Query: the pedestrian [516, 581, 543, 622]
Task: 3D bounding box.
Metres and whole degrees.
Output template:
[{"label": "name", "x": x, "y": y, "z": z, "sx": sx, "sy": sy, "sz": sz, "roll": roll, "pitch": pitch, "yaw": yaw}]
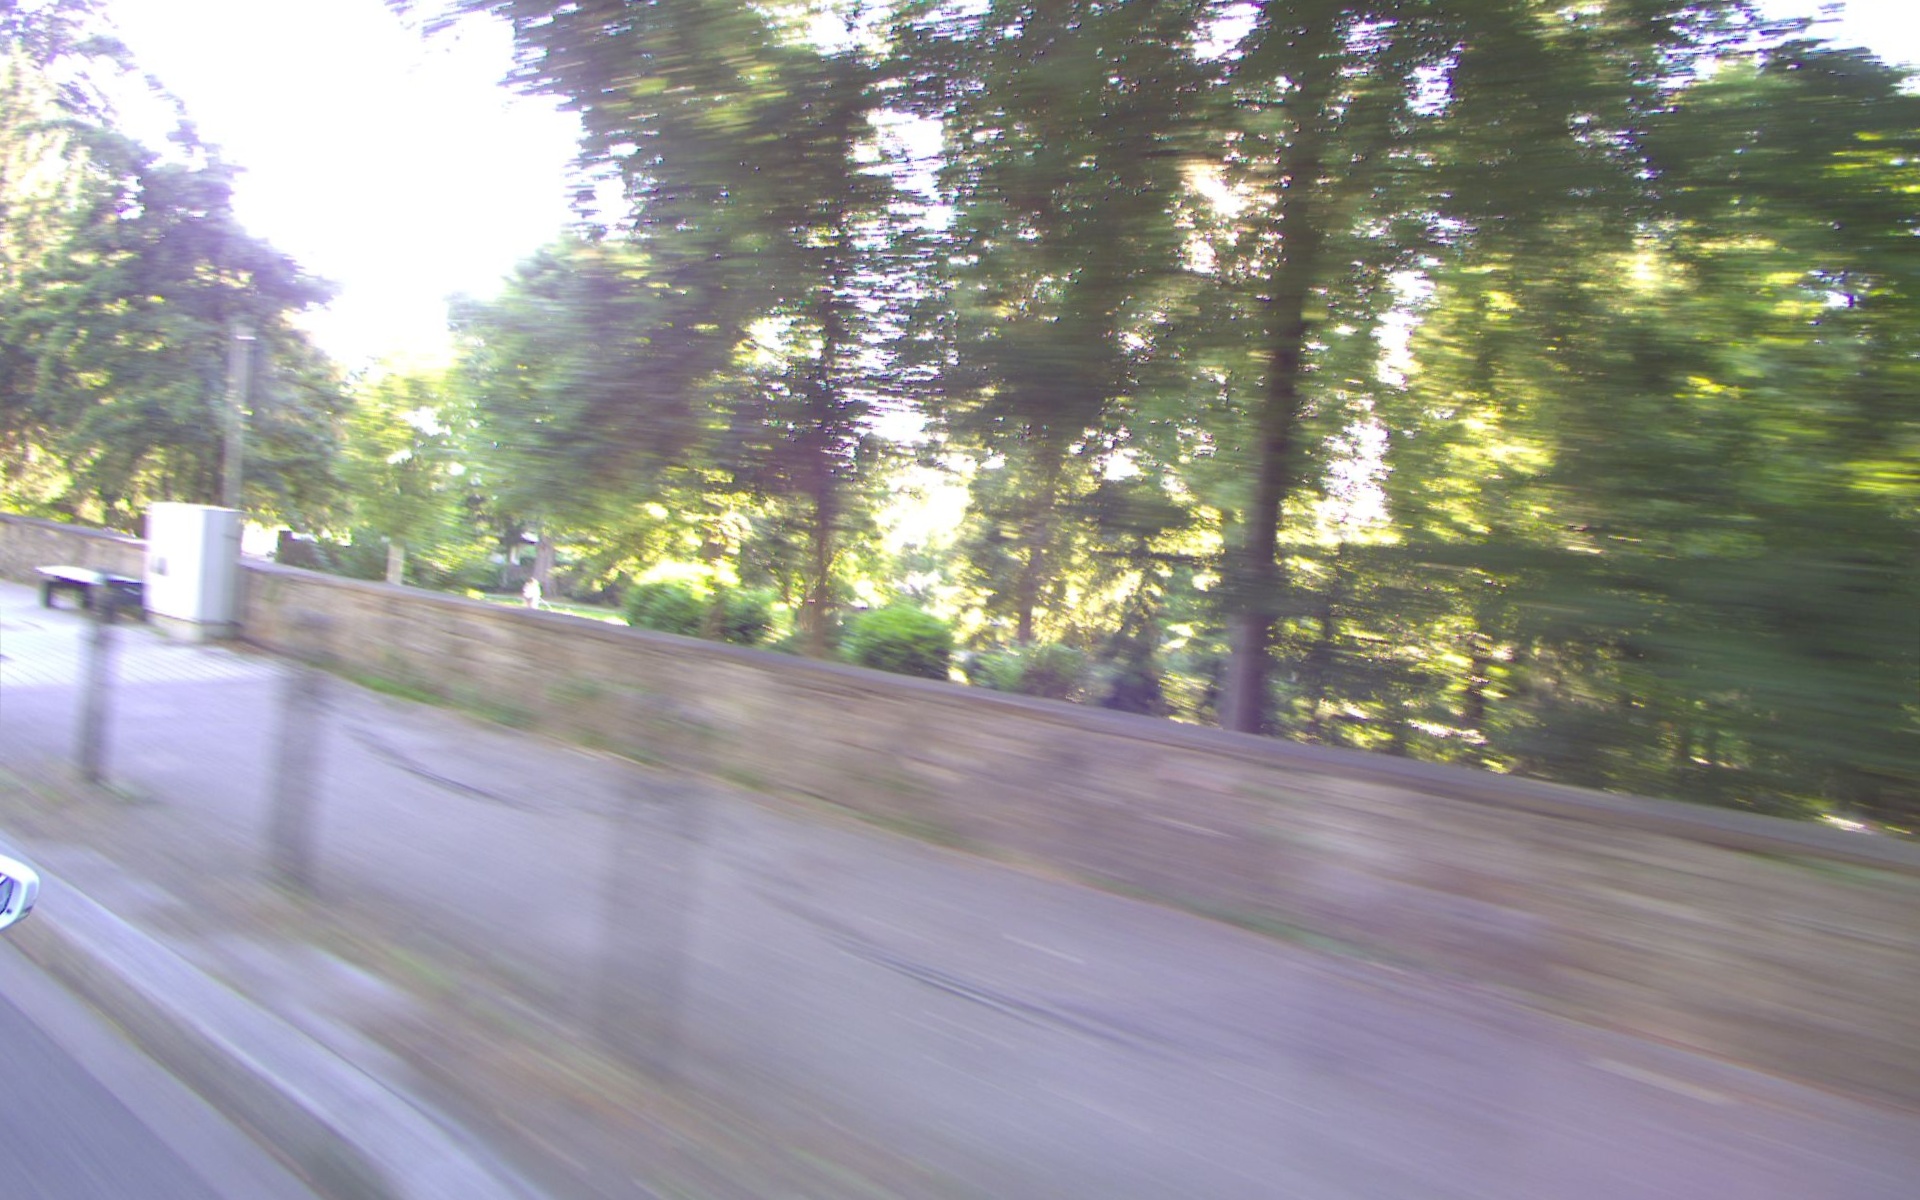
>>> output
[{"label": "pedestrian", "x": -18.341, "y": 0.055, "z": 42.899, "sx": 0.626, "sy": 1.659, "sz": 0.615, "roll": 7, "pitch": -1, "yaw": 33}]
